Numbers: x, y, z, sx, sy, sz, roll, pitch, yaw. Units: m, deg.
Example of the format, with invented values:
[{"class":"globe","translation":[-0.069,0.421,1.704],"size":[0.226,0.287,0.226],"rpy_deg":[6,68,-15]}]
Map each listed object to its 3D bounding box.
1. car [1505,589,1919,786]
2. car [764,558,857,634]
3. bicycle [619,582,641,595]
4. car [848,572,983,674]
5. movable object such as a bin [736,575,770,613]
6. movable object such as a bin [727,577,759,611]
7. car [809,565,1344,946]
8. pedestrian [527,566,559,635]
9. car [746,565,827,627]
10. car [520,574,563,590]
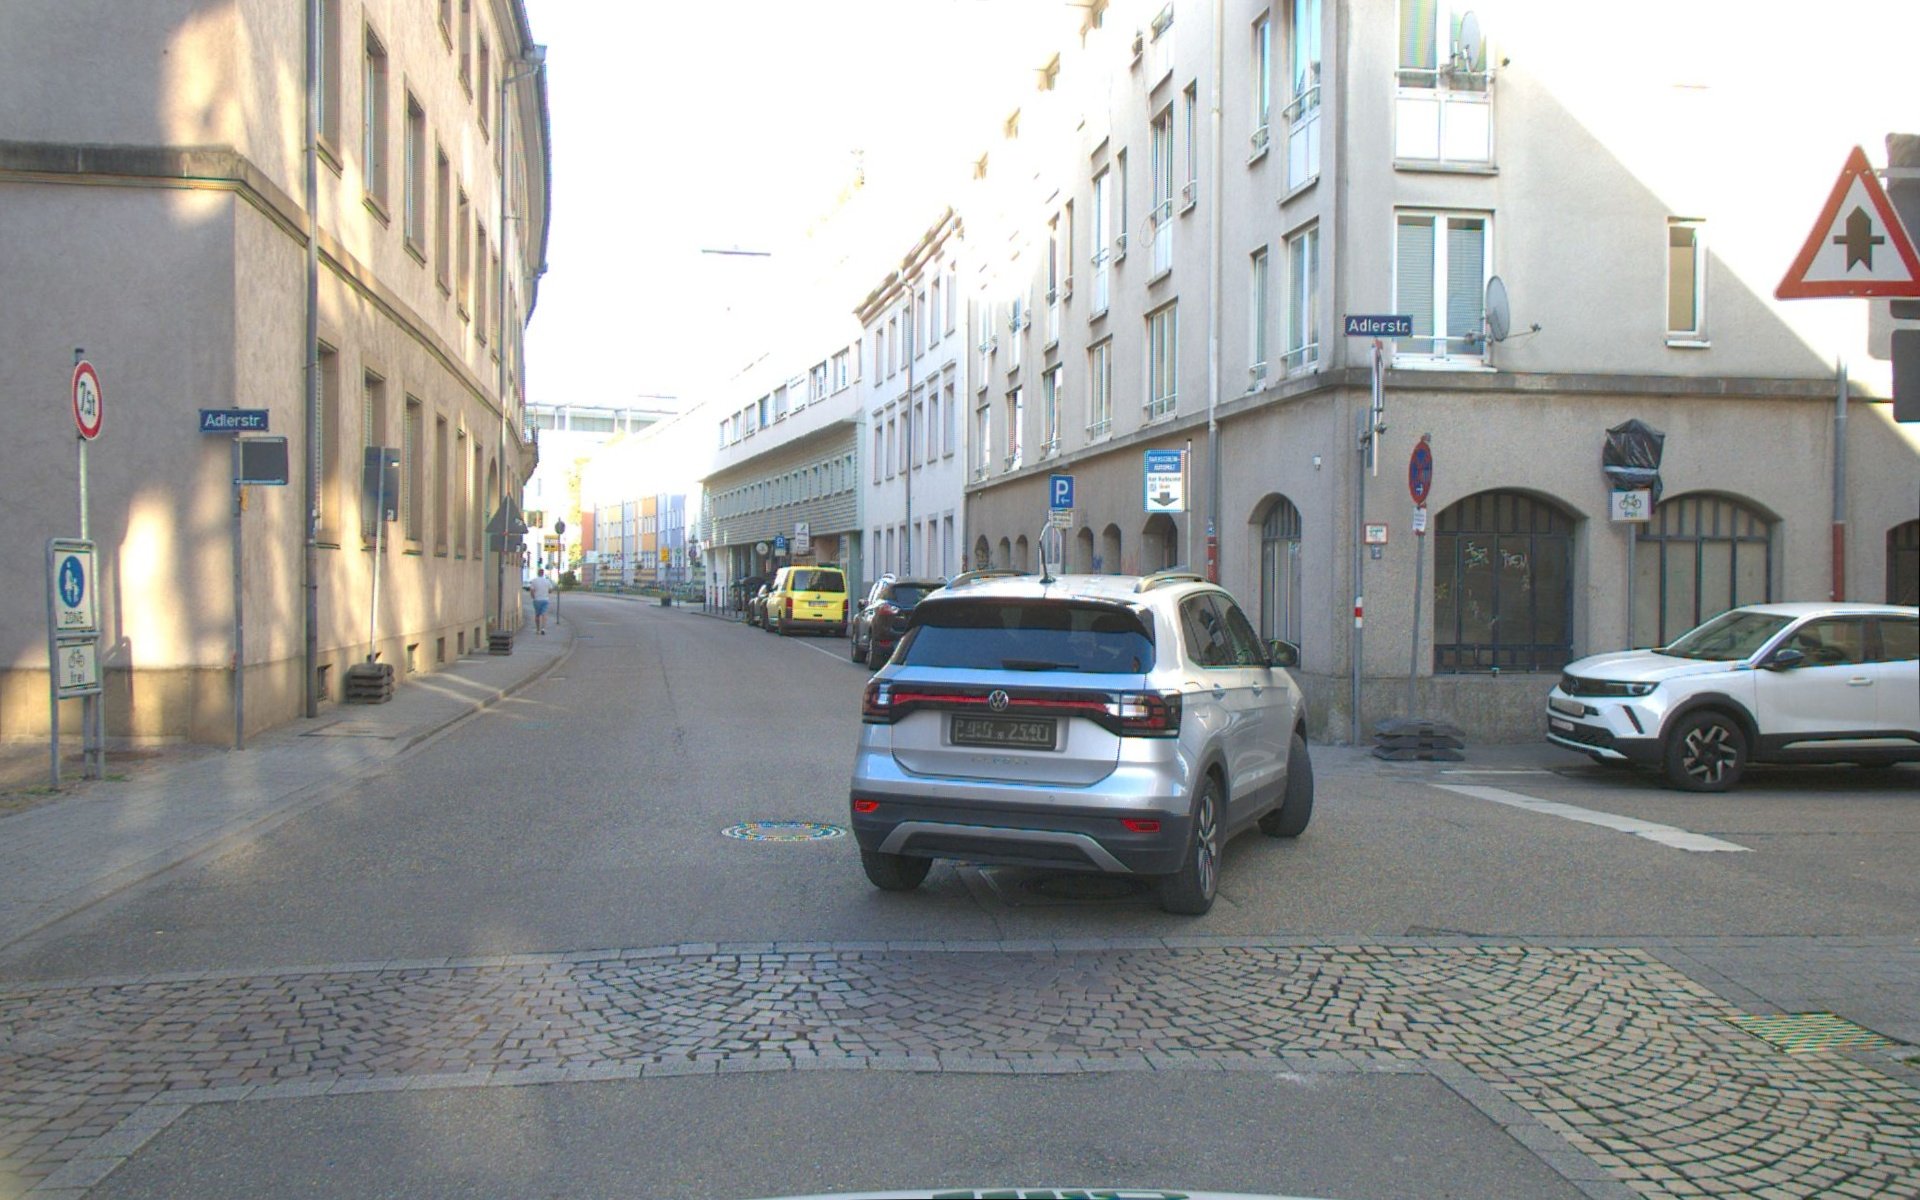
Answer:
[{"class":"car","translation":[7.234,0.735,14.672],"size":[4.132,1.580,1.900],"rpy_deg":[1,1,-4]},{"class":"car","translation":[-4.298,-0.142,47.039],"size":[2.018,2.049,4.160],"rpy_deg":[0,1,-14]},{"class":"bicycle","translation":[-26.877,-0.952,134.748],"size":[1.751,1.018,0.544],"rpy_deg":[1,0,-16]},{"class":"car","translation":[-0.902,0.374,30.718],"size":[1.932,1.721,4.092],"rpy_deg":[2,1,-10]},{"class":"movable object such as a bin","translation":[-8.901,-0.270,71.077],"size":[1.114,1.585,1.731],"rpy_deg":[0,1,-18]},{"class":"movable object such as a bin","translation":[-9.537,-0.272,72.752],"size":[1.114,1.505,1.731],"rpy_deg":[0,1,-18]},{"class":"car","translation":[0.886,0.613,9.090],"size":[1.799,1.589,4.000],"rpy_deg":[0,1,22]},{"class":"pedestrian","translation":[-10.782,0.005,42.758],"size":[0.753,1.754,0.684],"rpy_deg":[1,0,-16]},{"class":"car","translation":[-5.580,-0.148,52.771],"size":[2.018,1.905,4.085],"rpy_deg":[0,1,-14]},{"class":"car","translation":[-43.153,-1.851,170.521],"size":[4.030,1.698,1.699],"rpy_deg":[0,1,-36]}]
